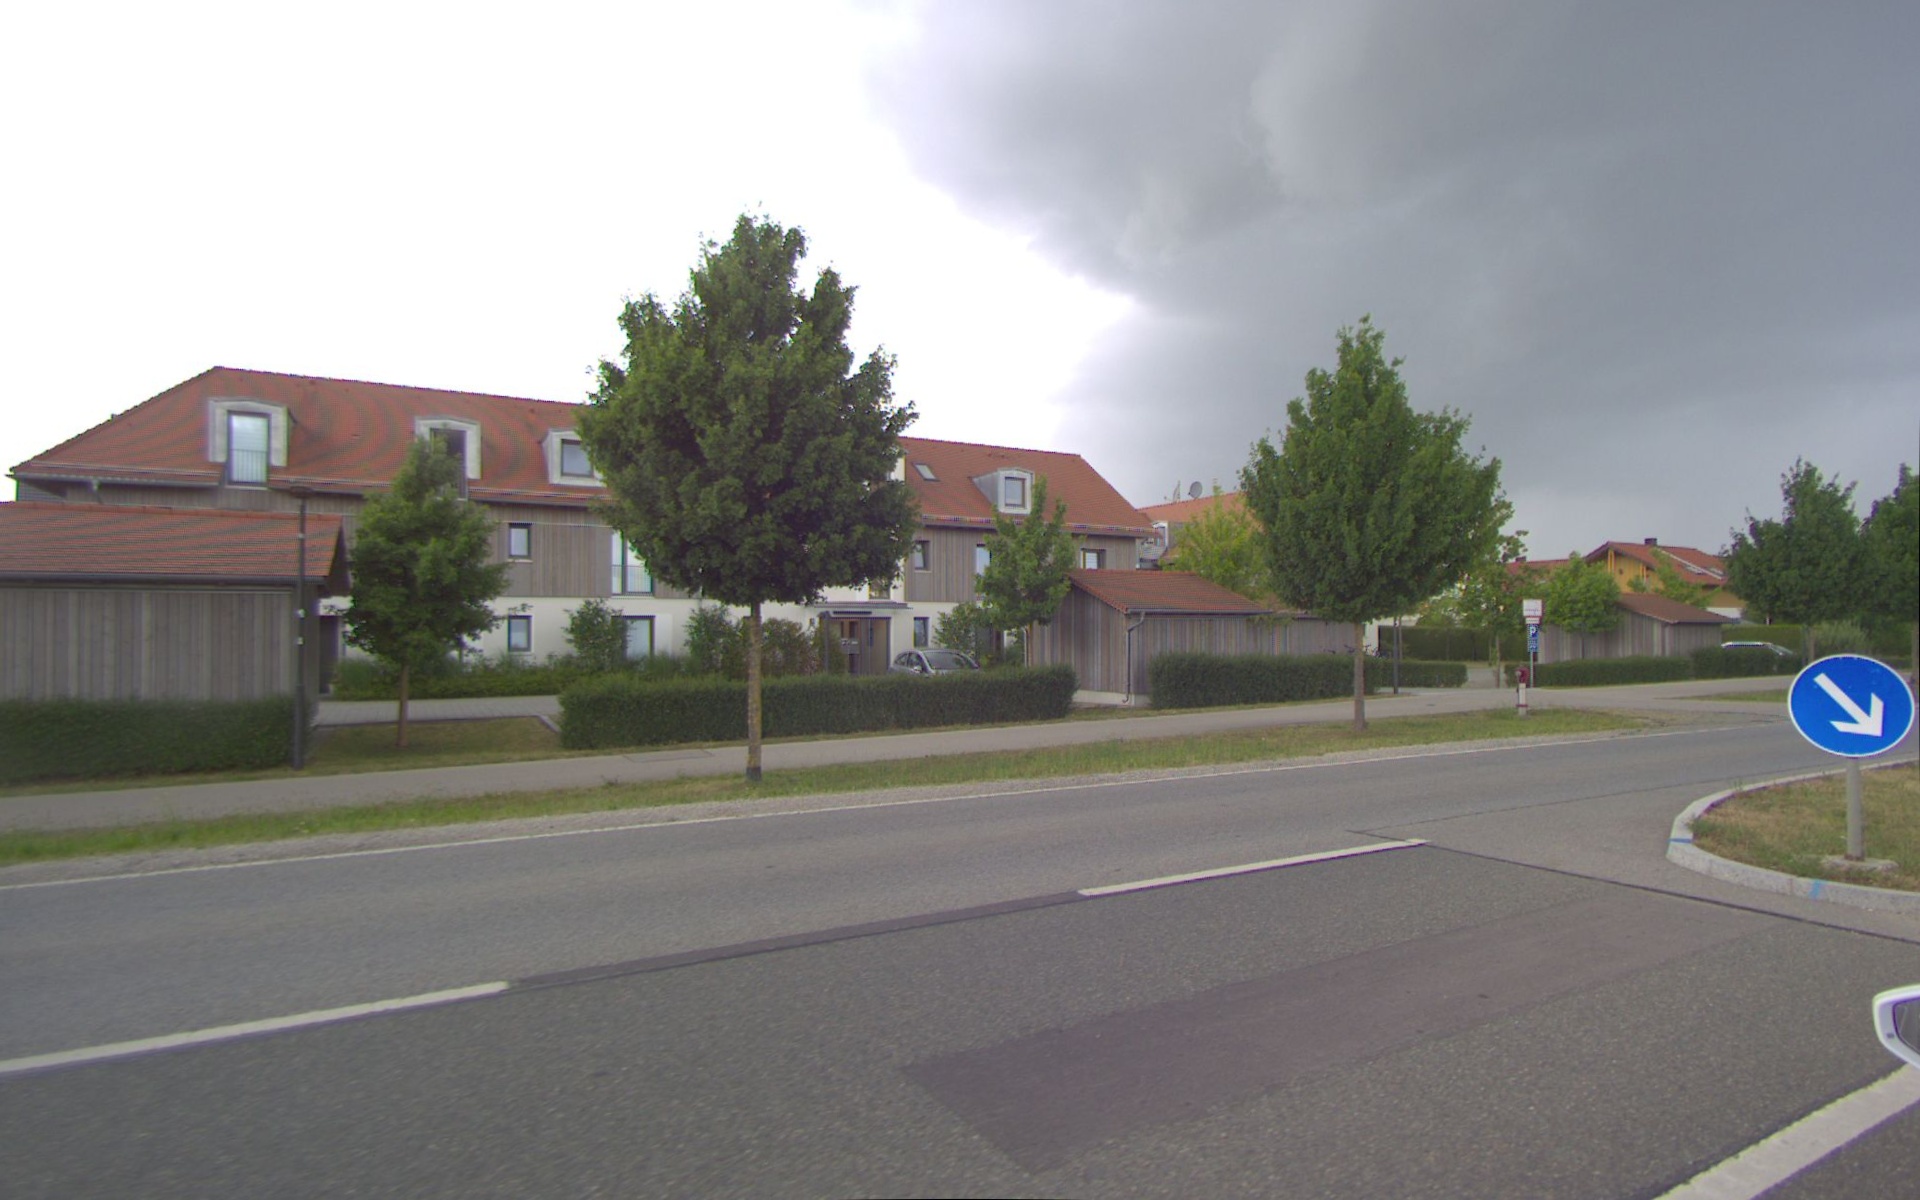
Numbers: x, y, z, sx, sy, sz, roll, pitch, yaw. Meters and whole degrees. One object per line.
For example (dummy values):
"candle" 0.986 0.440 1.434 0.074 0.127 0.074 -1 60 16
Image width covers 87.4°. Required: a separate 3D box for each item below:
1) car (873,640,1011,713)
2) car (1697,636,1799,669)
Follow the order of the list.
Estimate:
"car" -0.553 1.898 25.868 1.975 1.577 3.971 1 -1 -28
"car" 38.508 2.575 49.176 1.641 1.549 3.571 1 -4 -33
